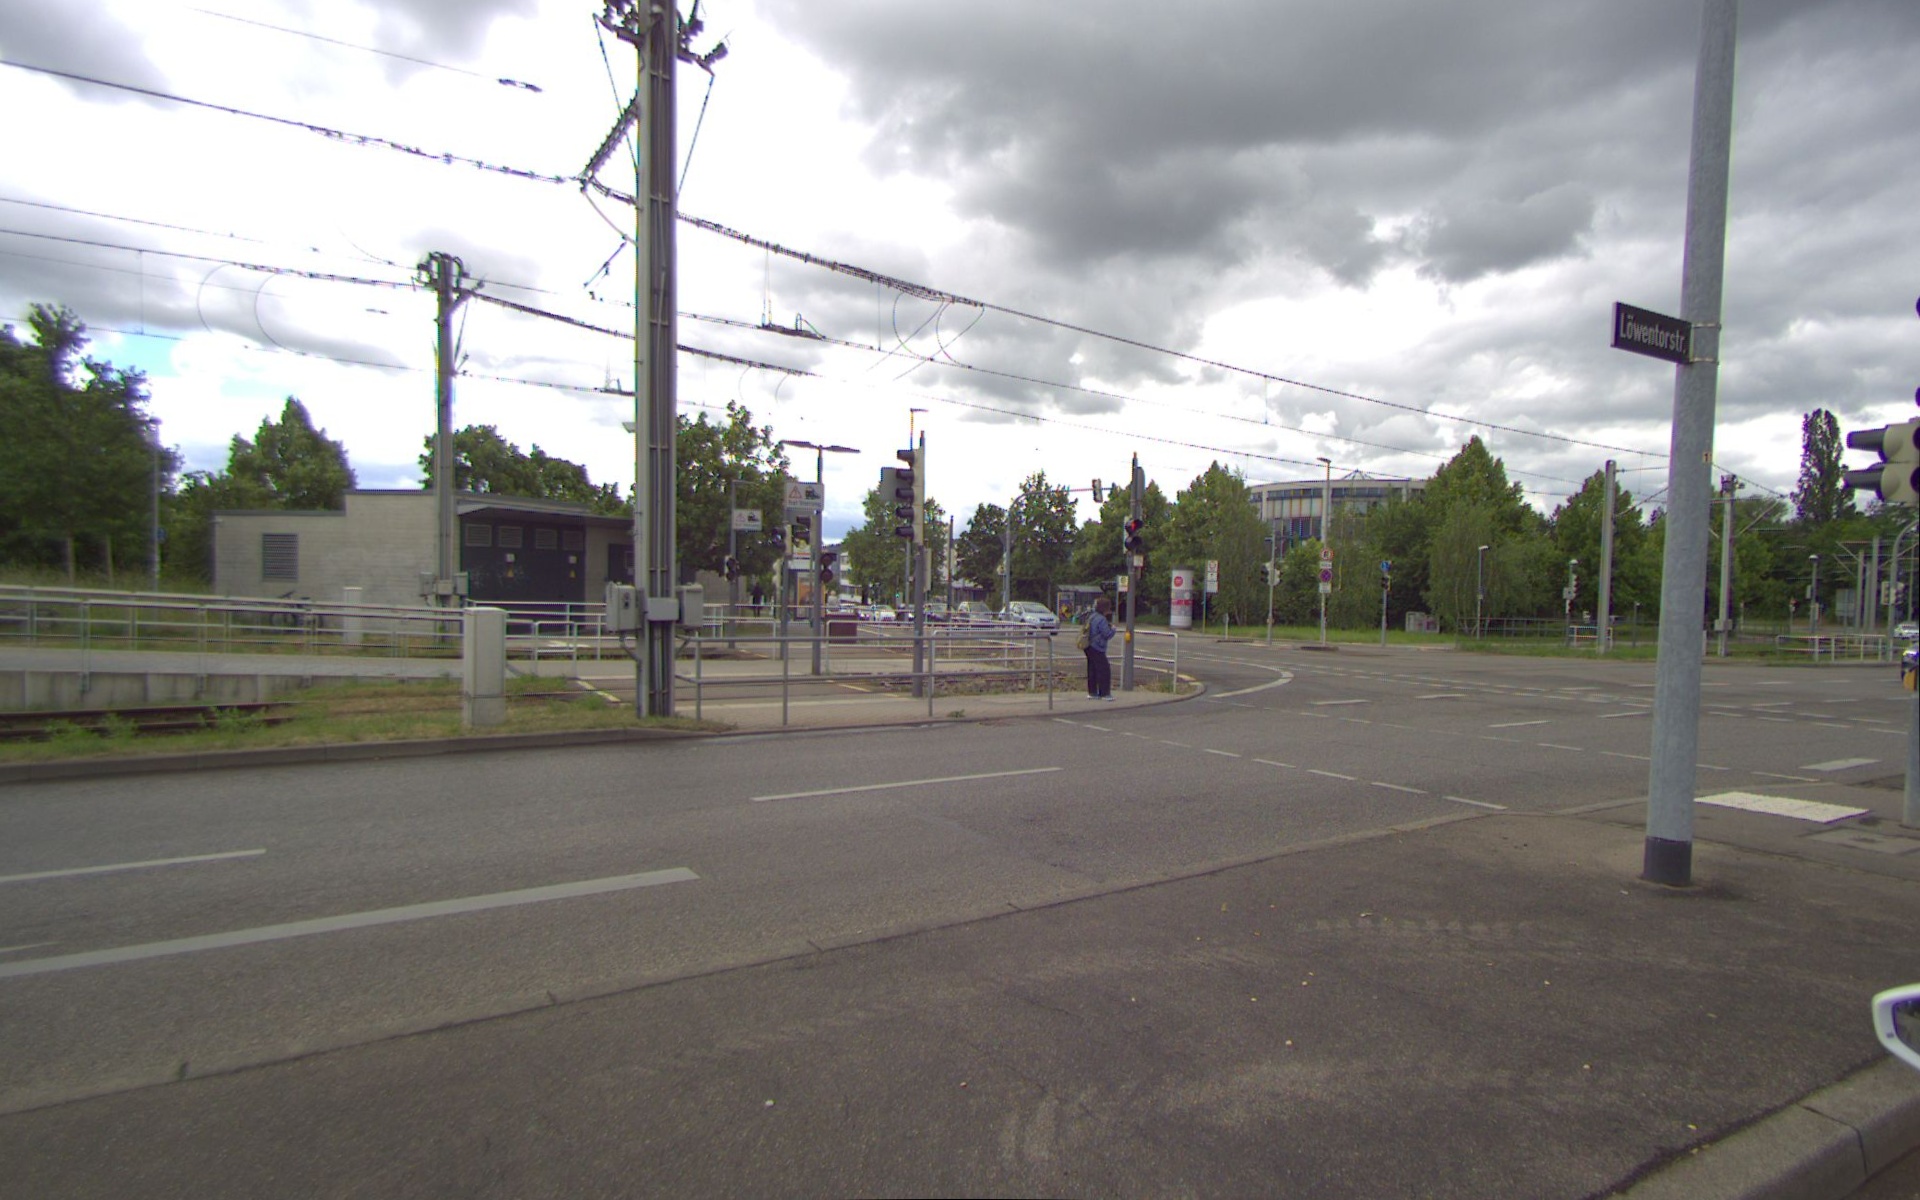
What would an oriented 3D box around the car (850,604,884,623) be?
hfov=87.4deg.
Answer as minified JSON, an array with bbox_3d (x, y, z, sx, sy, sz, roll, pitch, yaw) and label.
[{"bbox_3d":[-7.424,1.025,79.684,1.706,1.456,3.991,1,0,-20],"label":"car"}]

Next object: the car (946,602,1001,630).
[{"bbox_3d":[0.685,0.845,53.669,1.706,1.456,3.731,1,0,-20],"label":"car"}]

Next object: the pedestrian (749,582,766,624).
[{"bbox_3d":[-9.642,0.136,47.882,0.738,1.993,0.795,1,0,-9],"label":"pedestrian"}]

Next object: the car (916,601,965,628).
[{"bbox_3d":[-1.155,0.818,58.165,1.706,1.456,3.731,1,0,-20],"label":"car"}]

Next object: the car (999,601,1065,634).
[{"bbox_3d":[3.298,0.801,46.809,1.706,1.456,3.731,1,0,-20],"label":"car"}]

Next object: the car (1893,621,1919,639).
[{"bbox_3d":[92.440,2.934,97.693,1.804,1.650,4.412,0,-1,35],"label":"car"}]

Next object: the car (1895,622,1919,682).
[{"bbox_3d":[27.113,1.410,27.446,4.189,1.567,1.763,1,0,-40],"label":"car"}]

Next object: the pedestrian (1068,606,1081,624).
[{"bbox_3d":[8.337,1.082,72.926,0.652,1.321,0.780,1,0,-16],"label":"pedestrian"}]

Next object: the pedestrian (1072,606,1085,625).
[{"bbox_3d":[8.462,1.093,71.510,0.652,1.322,0.780,1,0,-16],"label":"pedestrian"}]

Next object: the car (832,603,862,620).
[{"bbox_3d":[-9.775,0.989,86.715,1.706,1.456,3.731,1,0,-20],"label":"car"}]

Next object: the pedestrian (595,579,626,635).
[{"bbox_3d":[-10.273,0.198,29.482,0.699,1.628,0.652,1,0,-34],"label":"pedestrian"}]

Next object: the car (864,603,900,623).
[{"bbox_3d":[-5.819,0.965,74.781,1.706,1.456,3.731,1,0,-20],"label":"car"}]

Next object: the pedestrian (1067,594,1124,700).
[{"bbox_3d":[2.080,0.703,15.439,0.701,1.584,0.533,1,1,-44],"label":"pedestrian"}]

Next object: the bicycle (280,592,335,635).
[{"bbox_3d":[-17.330,0.348,26.676,1.452,1.101,0.492,1,0,22],"label":"bicycle"}]

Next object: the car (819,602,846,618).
[{"bbox_3d":[-11.938,0.964,94.071,1.706,1.456,3.731,1,0,-20],"label":"car"}]

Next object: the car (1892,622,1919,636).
[{"bbox_3d":[115.208,3.552,121.436,1.747,1.567,4.027,1,0,7],"label":"car"}]

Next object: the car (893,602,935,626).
[{"bbox_3d":[-3.009,0.890,64.931,1.706,1.456,3.731,1,0,-20],"label":"car"}]

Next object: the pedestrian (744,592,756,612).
[{"bbox_3d":[-17.017,0.159,81.381,0.771,1.649,0.660,1,0,-22],"label":"pedestrian"}]
